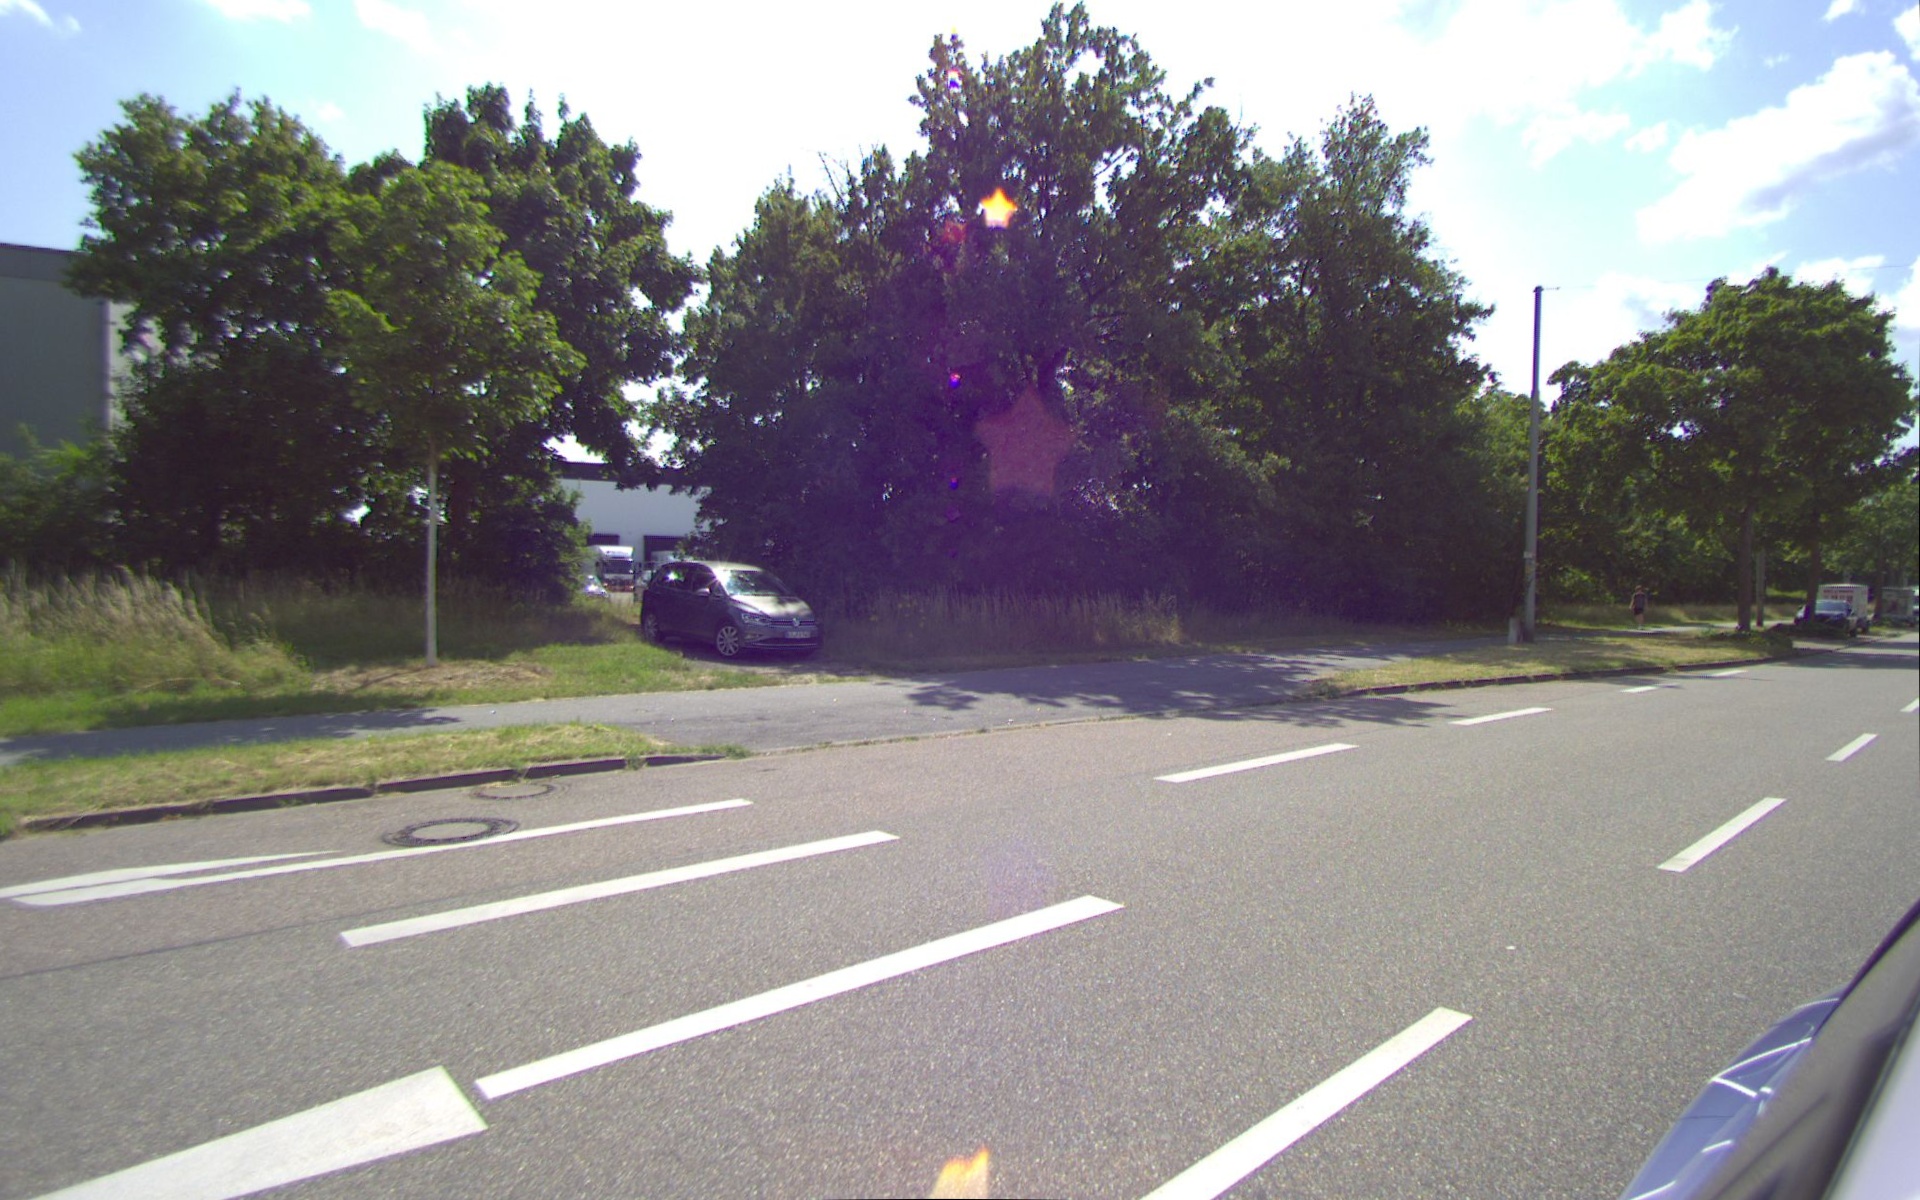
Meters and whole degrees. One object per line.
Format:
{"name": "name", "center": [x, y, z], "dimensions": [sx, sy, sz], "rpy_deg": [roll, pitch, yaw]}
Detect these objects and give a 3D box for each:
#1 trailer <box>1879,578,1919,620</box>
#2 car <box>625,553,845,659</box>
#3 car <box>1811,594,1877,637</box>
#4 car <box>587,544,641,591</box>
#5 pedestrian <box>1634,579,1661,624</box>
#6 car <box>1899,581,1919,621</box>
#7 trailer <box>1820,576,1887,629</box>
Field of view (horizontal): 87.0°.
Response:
{"name": "trailer", "center": [58.532, -0.104, 62.456], "dimensions": [4.700, 2.393, 1.998], "rpy_deg": [-1, 6, -42]}
{"name": "car", "center": [-4.117, 0.052, 18.124], "dimensions": [4.164, 1.511, 1.756], "rpy_deg": [6, 2, 43]}
{"name": "car", "center": [38.798, 0.619, 44.379], "dimensions": [4.287, 1.711, 1.594], "rpy_deg": [-1, 3, -42]}
{"name": "car", "center": [-23.446, -2.149, 68.502], "dimensions": [2.616, 2.990, 5.362], "rpy_deg": [-1, 0, -28]}
{"name": "pedestrian", "center": [28.141, 0.060, 41.421], "dimensions": [0.727, 1.816, 0.718], "rpy_deg": [0, -1, -42]}
{"name": "car", "center": [68.668, 0.043, 72.015], "dimensions": [6.047, 2.729, 2.178], "rpy_deg": [-1, 0, -43]}
{"name": "trailer", "center": [43.192, 0.098, 48.909], "dimensions": [4.529, 2.380, 1.955], "rpy_deg": [-1, 3, -43]}
